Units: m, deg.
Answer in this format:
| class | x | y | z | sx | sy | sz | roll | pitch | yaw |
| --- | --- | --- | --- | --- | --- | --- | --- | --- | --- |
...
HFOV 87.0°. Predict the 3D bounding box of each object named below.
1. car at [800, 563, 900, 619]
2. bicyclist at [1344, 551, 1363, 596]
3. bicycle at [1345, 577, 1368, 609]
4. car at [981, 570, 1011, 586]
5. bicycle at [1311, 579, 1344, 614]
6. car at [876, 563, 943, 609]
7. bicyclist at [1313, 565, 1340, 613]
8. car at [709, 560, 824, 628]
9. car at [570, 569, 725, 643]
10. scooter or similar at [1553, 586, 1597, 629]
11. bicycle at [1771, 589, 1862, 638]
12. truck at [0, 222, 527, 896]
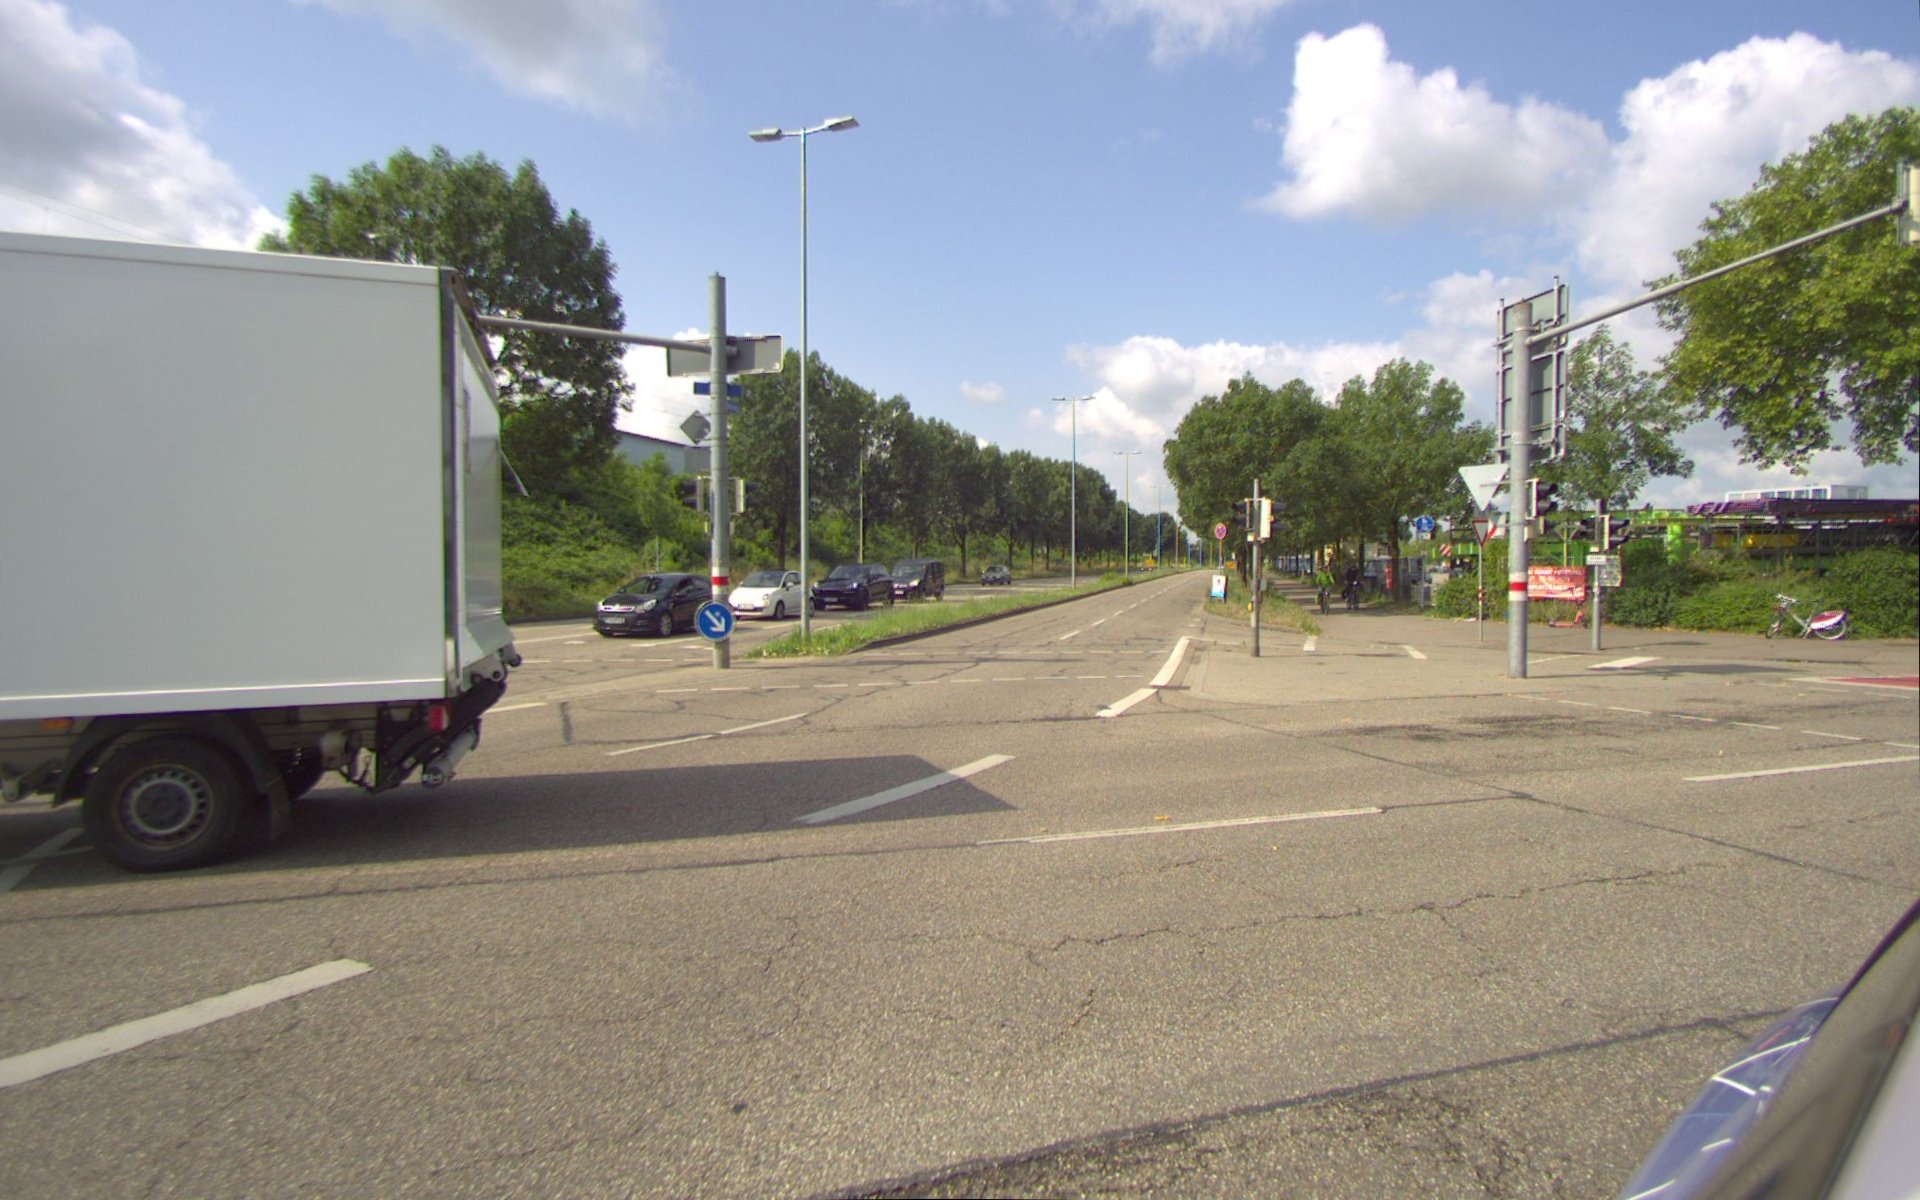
| class | x | y | z | sx | sy | sz | roll | pitch | yaw |
| --- | --- | --- | --- | --- | --- | --- | --- | --- | --- |
| car | -3.927 | -0.398 | 36.979 | 1.797 | 1.662 | 4.778 | 2 | 5 | 18 |
| bicyclist | 15.408 | -1.035 | 39.591 | 0.669 | 1.707 | 0.750 | 0 | 1 | 20 |
| bicycle | 15.475 | -0.301 | 39.539 | 0.782 | 1.211 | 2.219 | 0 | 1 | 20 |
| car | 2.617 | -1.562 | 72.431 | 1.521 | 1.062 | 3.358 | 2 | 2 | 13 |
| bicycle | 13.526 | -0.143 | 37.300 | 0.666 | 1.211 | 2.228 | -3 | 0 | 8 |
| car | -2.100 | -0.650 | 43.227 | 1.620 | 1.653 | 4.189 | 2 | 5 | 15 |
| bicyclist | 13.518 | -0.405 | 37.334 | 0.666 | 1.701 | 0.835 | -3 | 0 | 8 |
| car | -5.819 | -0.251 | 30.906 | 1.948 | 1.770 | 4.010 | 2 | 4 | 14 |
| car | -7.374 | 0.068 | 24.270 | 1.718 | 1.537 | 3.810 | 1 | 3 | 17 |
| scooter or similar | 17.048 | 0.197 | 28.070 | 0.400 | 1.125 | 1.014 | 0 | 2 | -19 |
| bicycle | 20.686 | 0.315 | 24.468 | 1.631 | 1.054 | 0.520 | 2 | 6 | 43 |
| truck | -5.667 | -0.196 | 5.608 | 5.901 | 3.160 | 2.460 | -1 | 0 | -21 |
